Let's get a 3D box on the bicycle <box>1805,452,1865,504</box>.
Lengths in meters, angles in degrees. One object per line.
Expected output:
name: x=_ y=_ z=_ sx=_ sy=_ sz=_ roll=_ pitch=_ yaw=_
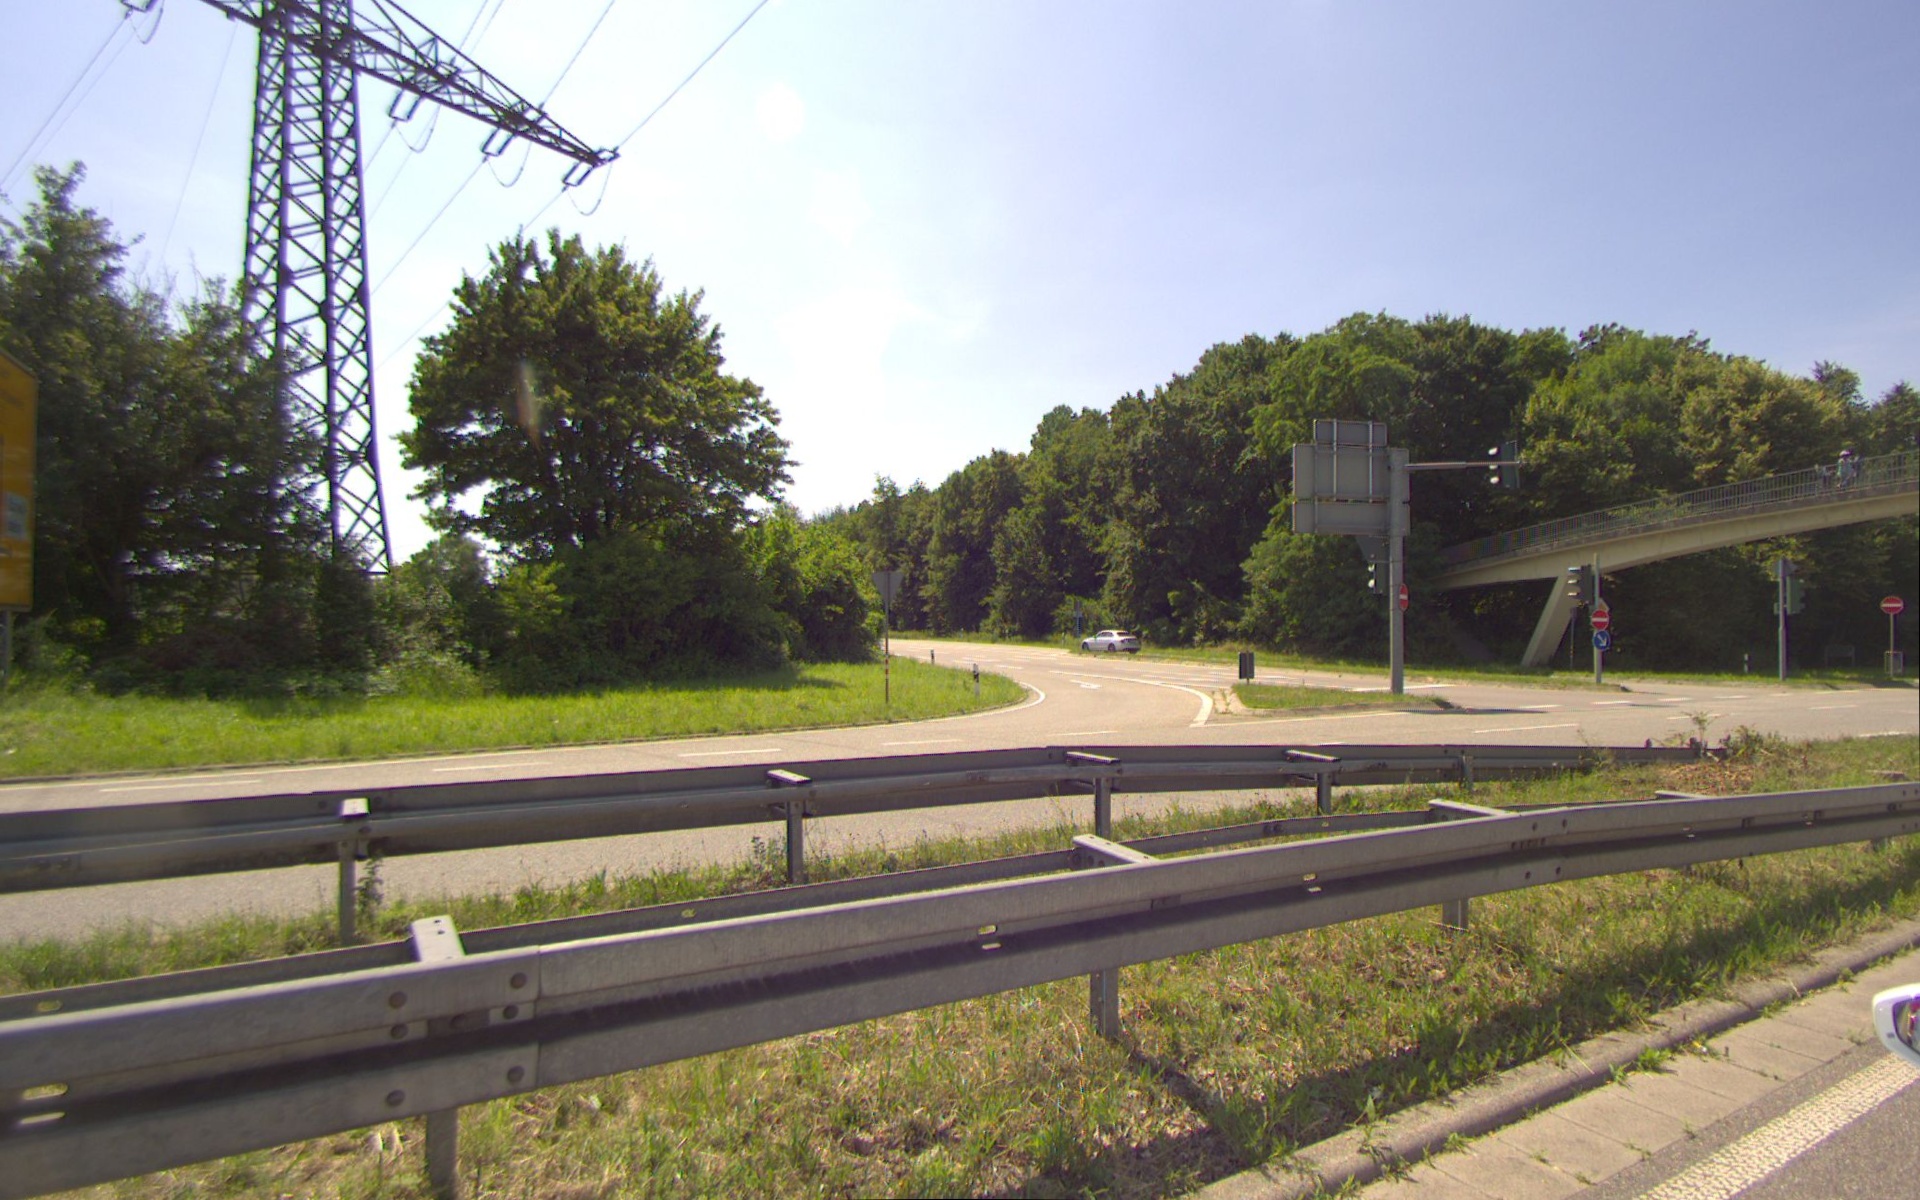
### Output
bicycle: x=29.899 y=-4.143 z=34.339 sx=0.462 sy=1.493 sz=1.528 roll=2 pitch=-3 yaw=-14

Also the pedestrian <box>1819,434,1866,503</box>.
pedestrian: x=30.140 y=-4.491 z=34.317 sx=0.916 sy=2.167 sz=0.783 roll=2 pitch=-3 yaw=-14

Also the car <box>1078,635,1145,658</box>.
car: x=9.334 y=2.857 z=62.406 sx=1.971 sy=1.391 sz=4.757 roll=1 pitch=-2 yaw=-22
